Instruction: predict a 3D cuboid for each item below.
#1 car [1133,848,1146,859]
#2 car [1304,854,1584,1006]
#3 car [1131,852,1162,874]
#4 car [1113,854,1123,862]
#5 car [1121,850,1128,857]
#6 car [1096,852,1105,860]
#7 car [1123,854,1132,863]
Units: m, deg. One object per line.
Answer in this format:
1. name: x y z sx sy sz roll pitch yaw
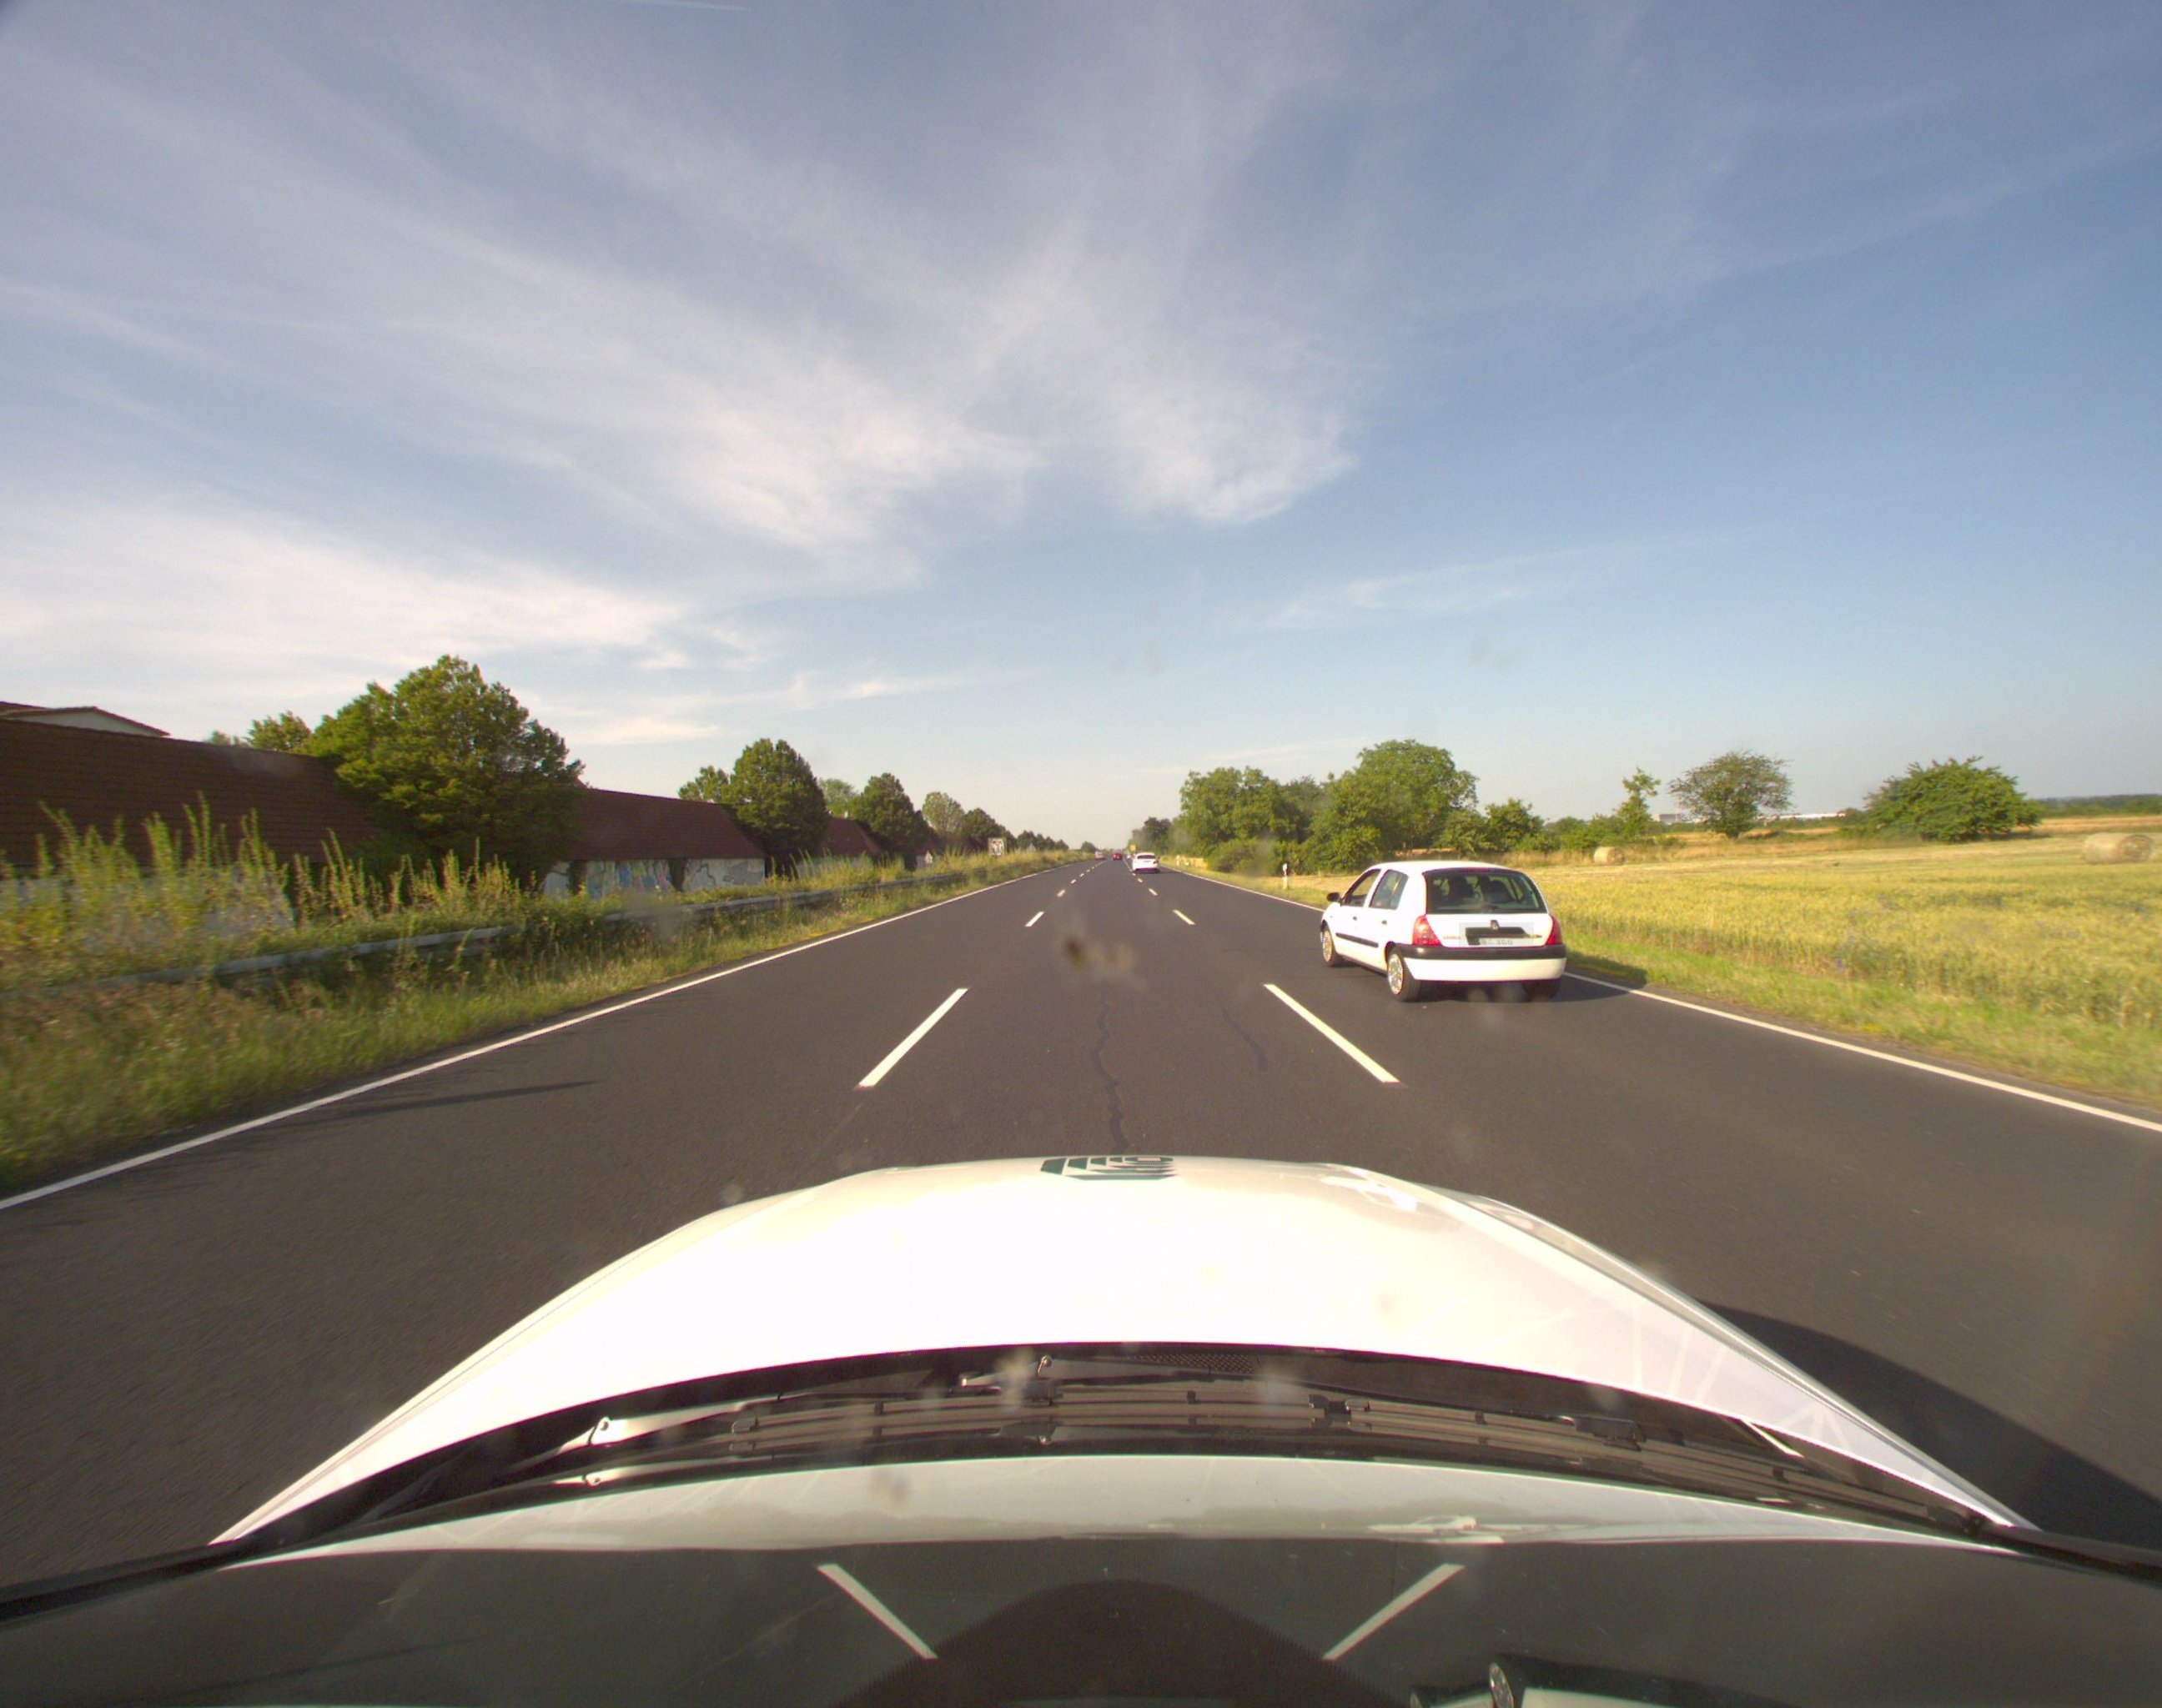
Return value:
1. car: 9.149 -0.029 127.574 1.821 1.728 4.002 -1 -1 2
2. car: 3.891 0.729 9.498 1.611 1.387 3.953 -1 -1 2
3. car: 4.550 0.629 57.227 1.985 1.516 4.002 -1 -1 2
4. car: 6.937 0.801 152.964 1.805 1.436 3.860 -1 -1 2
5. car: 11.868 -0.229 223.979 1.795 1.904 3.563 -1 -1 4
6. car: 4.115 0.439 173.668 1.750 1.618 4.004 -1 -1 4
7. car: 9.454 0.882 165.083 1.826 1.717 3.865 -1 -1 3
